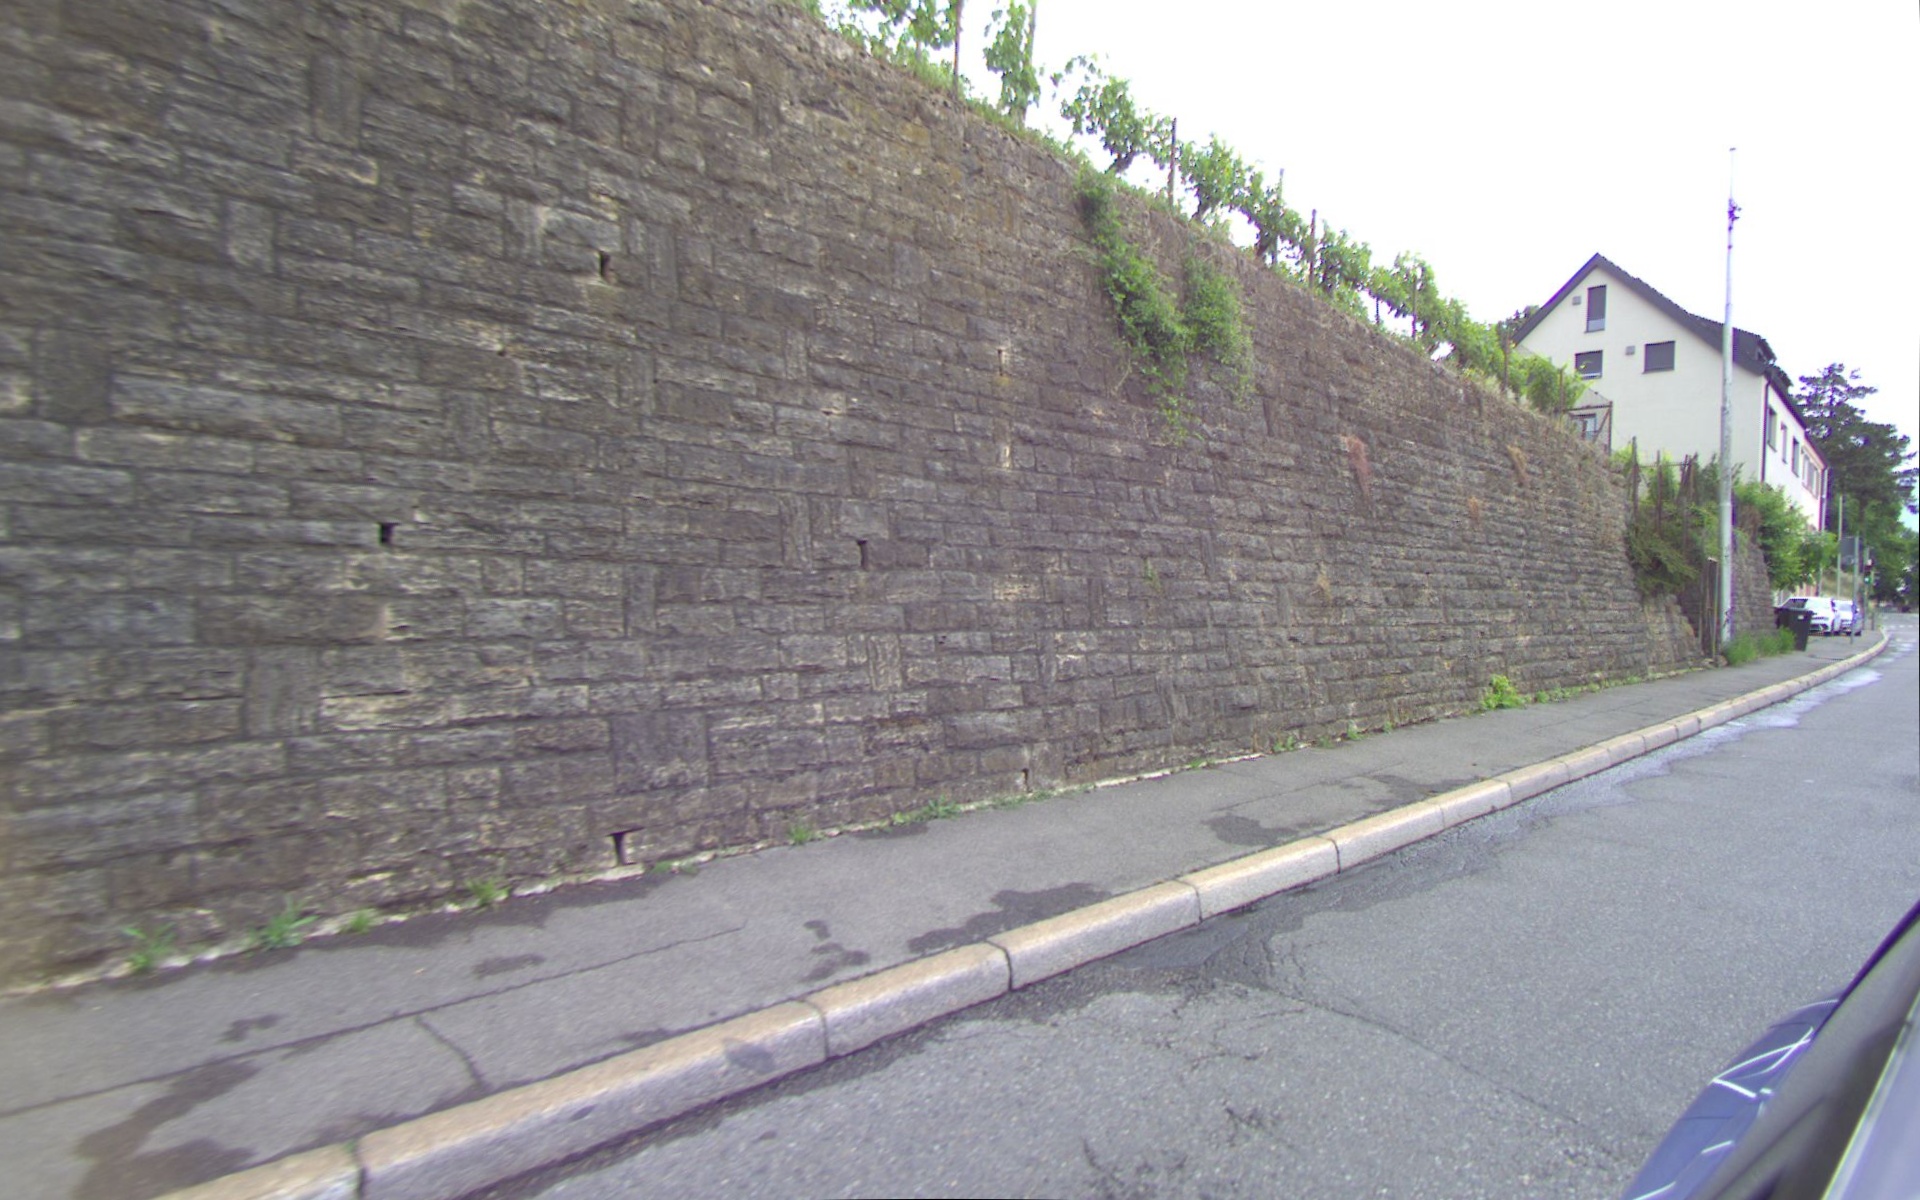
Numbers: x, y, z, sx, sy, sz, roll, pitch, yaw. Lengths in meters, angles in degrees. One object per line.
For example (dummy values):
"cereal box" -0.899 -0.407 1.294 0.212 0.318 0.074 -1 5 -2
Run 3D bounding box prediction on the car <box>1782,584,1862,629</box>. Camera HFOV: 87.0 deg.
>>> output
"car" 32.209 0.201 37.797 3.986 1.594 1.797 -1 1 -42

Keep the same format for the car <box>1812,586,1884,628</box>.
"car" 35.991 0.244 40.989 4.177 1.594 1.730 -1 1 -42

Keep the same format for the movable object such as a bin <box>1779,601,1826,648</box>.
"movable object such as a bin" 21.267 0.610 25.553 0.860 1.141 0.810 0 1 -43
